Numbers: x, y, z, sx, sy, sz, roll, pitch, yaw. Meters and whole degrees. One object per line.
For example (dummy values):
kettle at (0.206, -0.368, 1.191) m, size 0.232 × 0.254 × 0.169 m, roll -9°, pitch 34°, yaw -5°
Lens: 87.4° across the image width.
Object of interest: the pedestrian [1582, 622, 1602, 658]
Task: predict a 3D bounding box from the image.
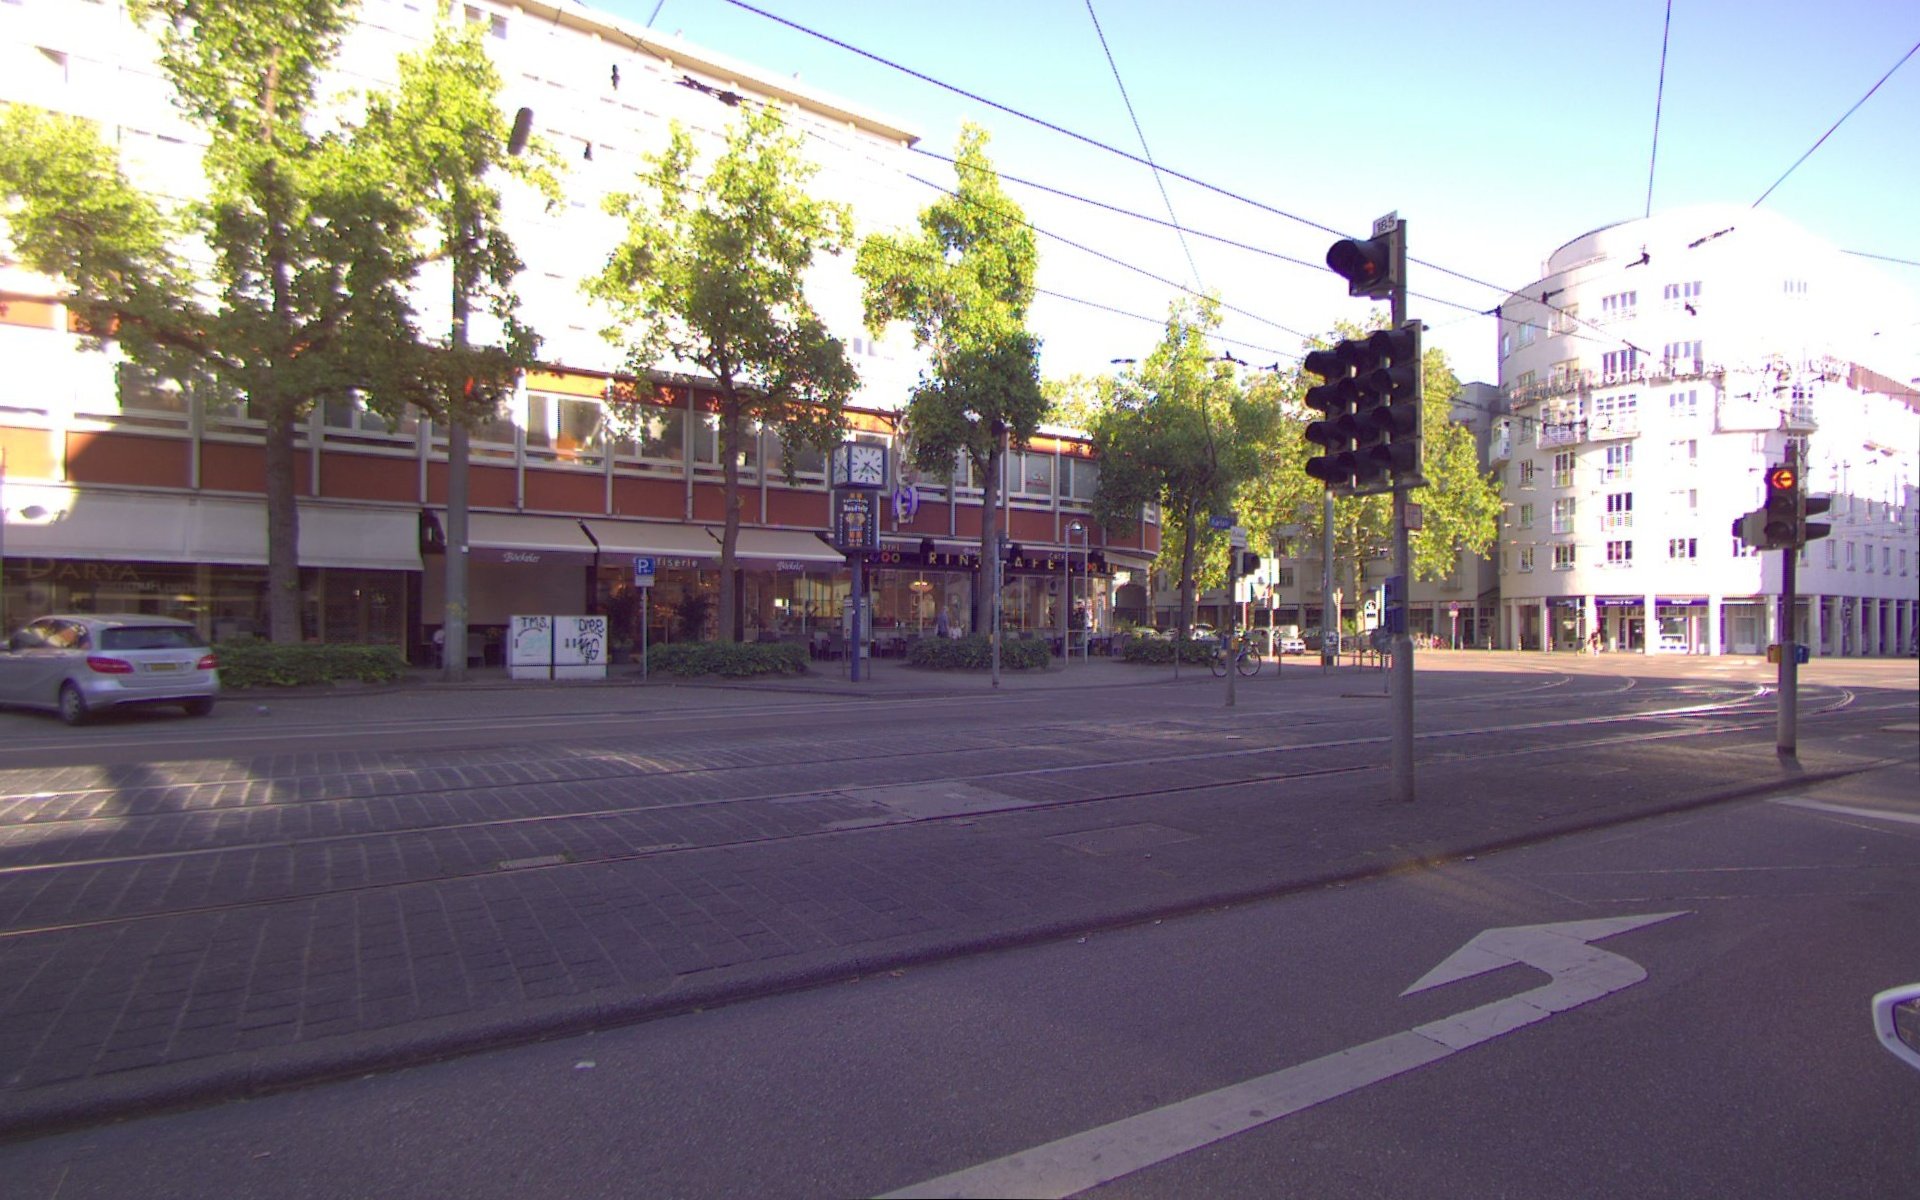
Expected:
pedestrian at (36.089, 2.272, 57.339) m, size 0.930 × 2.040 × 0.939 m, roll 0°, pitch -1°, yaw 30°

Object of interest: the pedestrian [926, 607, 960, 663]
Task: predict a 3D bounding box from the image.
pedestrian at (-0.554, 1.116, 32.517) m, size 0.866 × 1.745 × 0.700 m, roll 0°, pitch 1°, yaw -34°

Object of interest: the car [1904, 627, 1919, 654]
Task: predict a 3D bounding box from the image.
car at (58.432, 2.426, 60.333) m, size 3.423 × 1.566 × 1.756 m, roll 1°, pitch -2°, yaw -32°

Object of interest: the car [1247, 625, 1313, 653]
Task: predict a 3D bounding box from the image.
car at (18.681, 2.277, 58.814) m, size 1.605 × 1.579 × 4.001 m, roll 0°, pitch -2°, yaw -19°

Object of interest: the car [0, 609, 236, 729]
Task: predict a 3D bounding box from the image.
car at (-13.568, 0.987, 15.755) m, size 4.200 × 1.587 × 1.825 m, roll 1°, pitch -1°, yaw 26°

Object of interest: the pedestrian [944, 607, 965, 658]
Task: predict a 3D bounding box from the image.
pedestrian at (-0.195, 1.118, 34.978) m, size 0.590 × 1.745 × 0.647 m, roll 0°, pitch 1°, yaw -14°

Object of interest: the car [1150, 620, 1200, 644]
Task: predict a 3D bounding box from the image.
car at (18.382, 2.698, 85.928) m, size 3.954 × 1.990 × 1.984 m, roll 1°, pitch -1°, yaw -31°

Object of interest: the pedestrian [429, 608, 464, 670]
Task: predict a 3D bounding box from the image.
pedestrian at (-13.322, 1.009, 26.050) m, size 0.699 × 1.584 × 0.867 m, roll 1°, pitch -1°, yaw -33°

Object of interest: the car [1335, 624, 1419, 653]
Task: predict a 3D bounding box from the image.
car at (24.735, 2.233, 59.718) m, size 1.688 × 1.662 × 4.413 m, roll 1°, pitch -2°, yaw -37°

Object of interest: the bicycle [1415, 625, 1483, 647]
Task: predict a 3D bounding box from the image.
bicycle at (35.219, 2.587, 72.420) m, size 1.053 × 1.550 × 4.684 m, roll 1°, pitch -2°, yaw -29°

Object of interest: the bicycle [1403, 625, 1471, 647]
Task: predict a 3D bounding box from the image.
bicycle at (33.926, 2.548, 71.592) m, size 1.053 × 1.550 × 4.684 m, roll 1°, pitch -2°, yaw -29°

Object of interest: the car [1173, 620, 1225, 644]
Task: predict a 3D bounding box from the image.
car at (19.863, 2.660, 83.417) m, size 3.954 × 1.990 × 1.984 m, roll 1°, pitch -1°, yaw -31°

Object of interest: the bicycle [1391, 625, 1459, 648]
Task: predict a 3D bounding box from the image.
bicycle at (32.896, 2.542, 71.127) m, size 1.053 × 1.550 × 4.684 m, roll 1°, pitch -2°, yaw -29°

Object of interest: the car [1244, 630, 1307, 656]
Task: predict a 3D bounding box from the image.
car at (16.817, 2.289, 53.701) m, size 1.738 × 1.312 × 4.014 m, roll 0°, pitch -2°, yaw -7°

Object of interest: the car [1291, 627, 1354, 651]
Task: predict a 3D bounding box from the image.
car at (24.112, 2.584, 66.930) m, size 1.595 × 1.551 × 3.972 m, roll 0°, pitch -1°, yaw -27°

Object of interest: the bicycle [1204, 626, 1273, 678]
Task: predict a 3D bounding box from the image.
bicycle at (7.649, 1.412, 27.548) m, size 1.884 × 1.345 × 0.667 m, roll 1°, pitch 2°, yaw -30°
